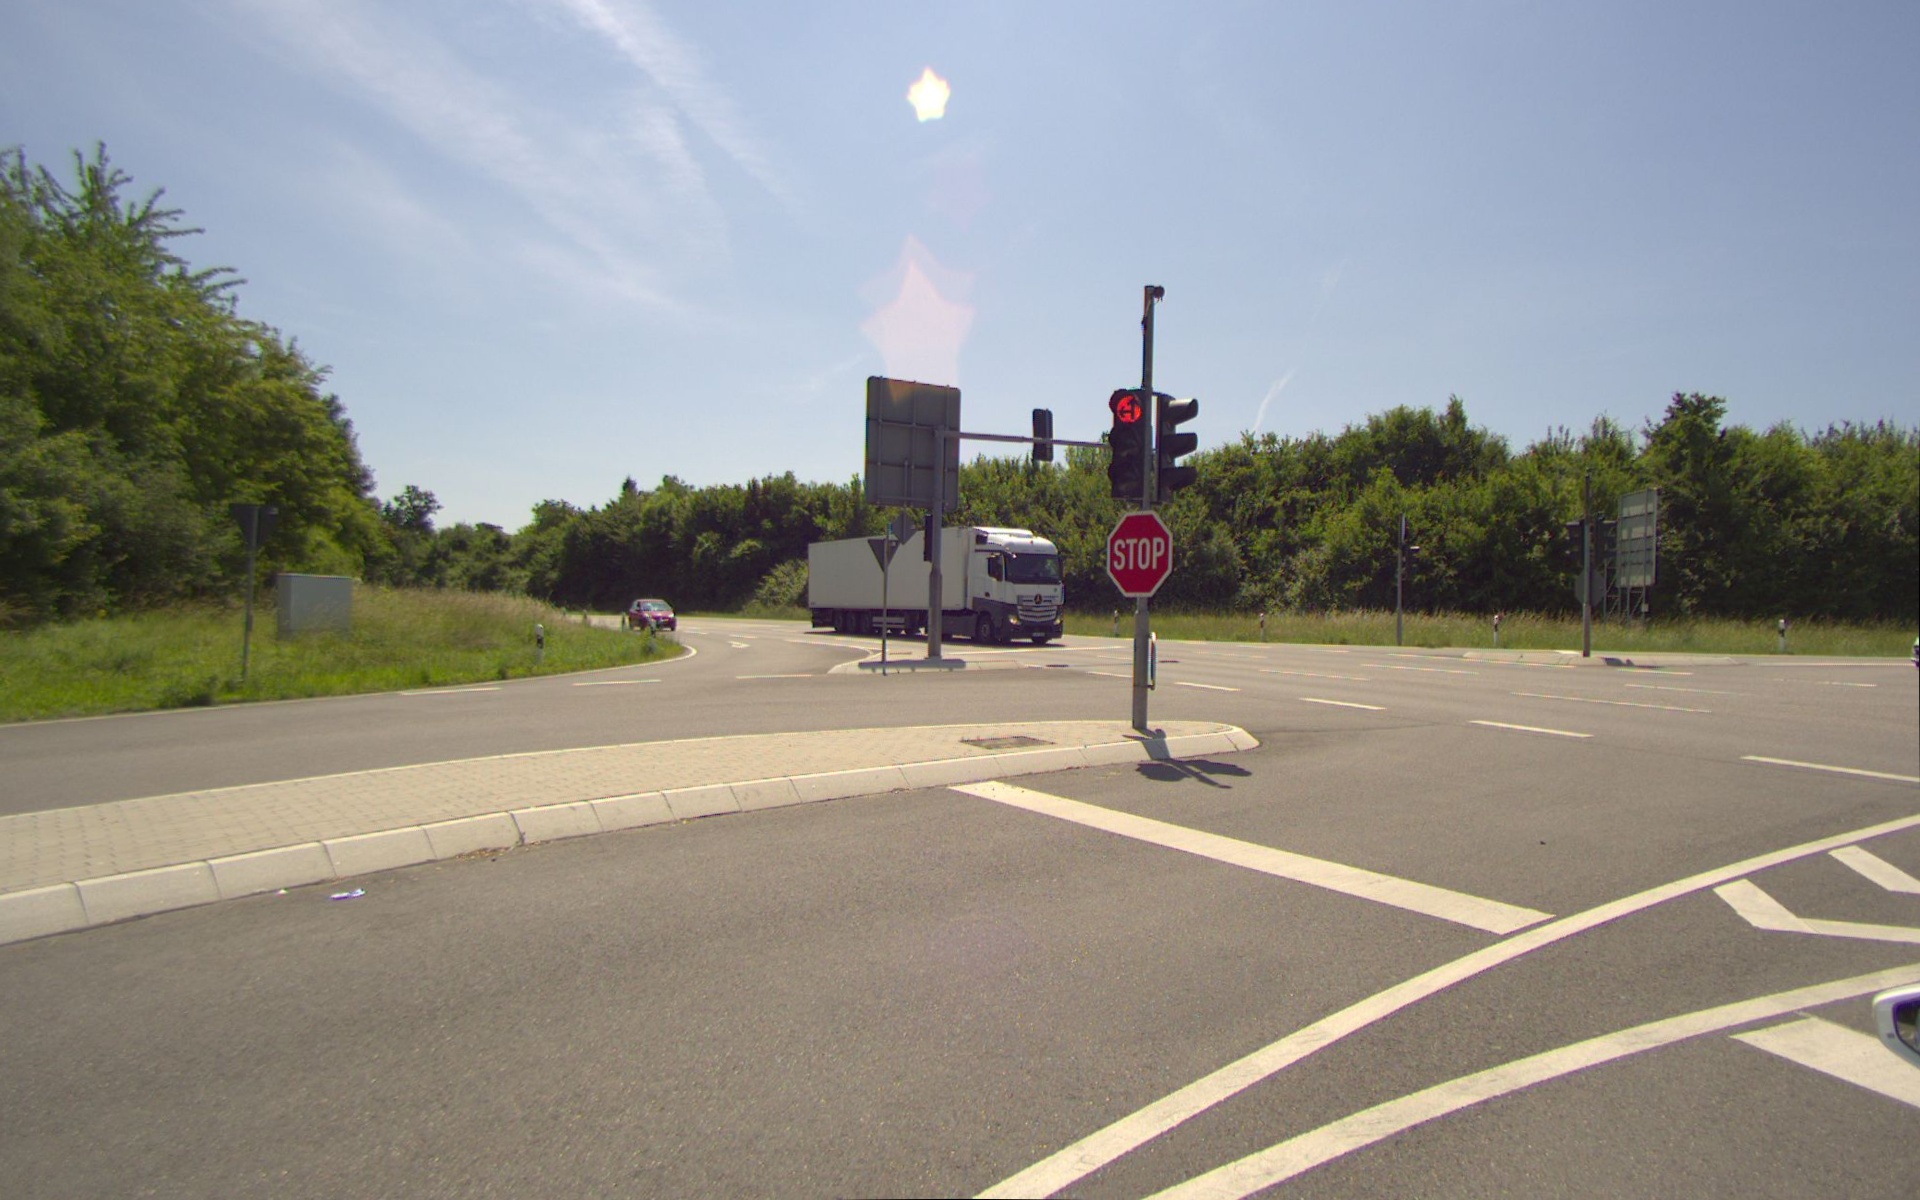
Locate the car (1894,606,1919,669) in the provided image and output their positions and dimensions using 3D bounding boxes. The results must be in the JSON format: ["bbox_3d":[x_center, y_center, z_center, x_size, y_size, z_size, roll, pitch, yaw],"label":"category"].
[{"bbox_3d":[23.050,0.831,22.373,3.469,1.389,1.567,0,0,-12],"label":"car"}]

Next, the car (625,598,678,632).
[{"bbox_3d":[-15.103,0.700,49.069,1.533,1.519,3.799,-1,1,-32],"label":"car"}]

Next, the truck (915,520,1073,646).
[{"bbox_3d":[1.051,-0.567,35.867,2.632,4.090,6.225,0,0,-32],"label":"truck"}]

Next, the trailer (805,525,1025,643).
[{"bbox_3d":[-2.413,-0.614,41.356,2.632,4.090,13.713,0,1,-32],"label":"trailer"}]
